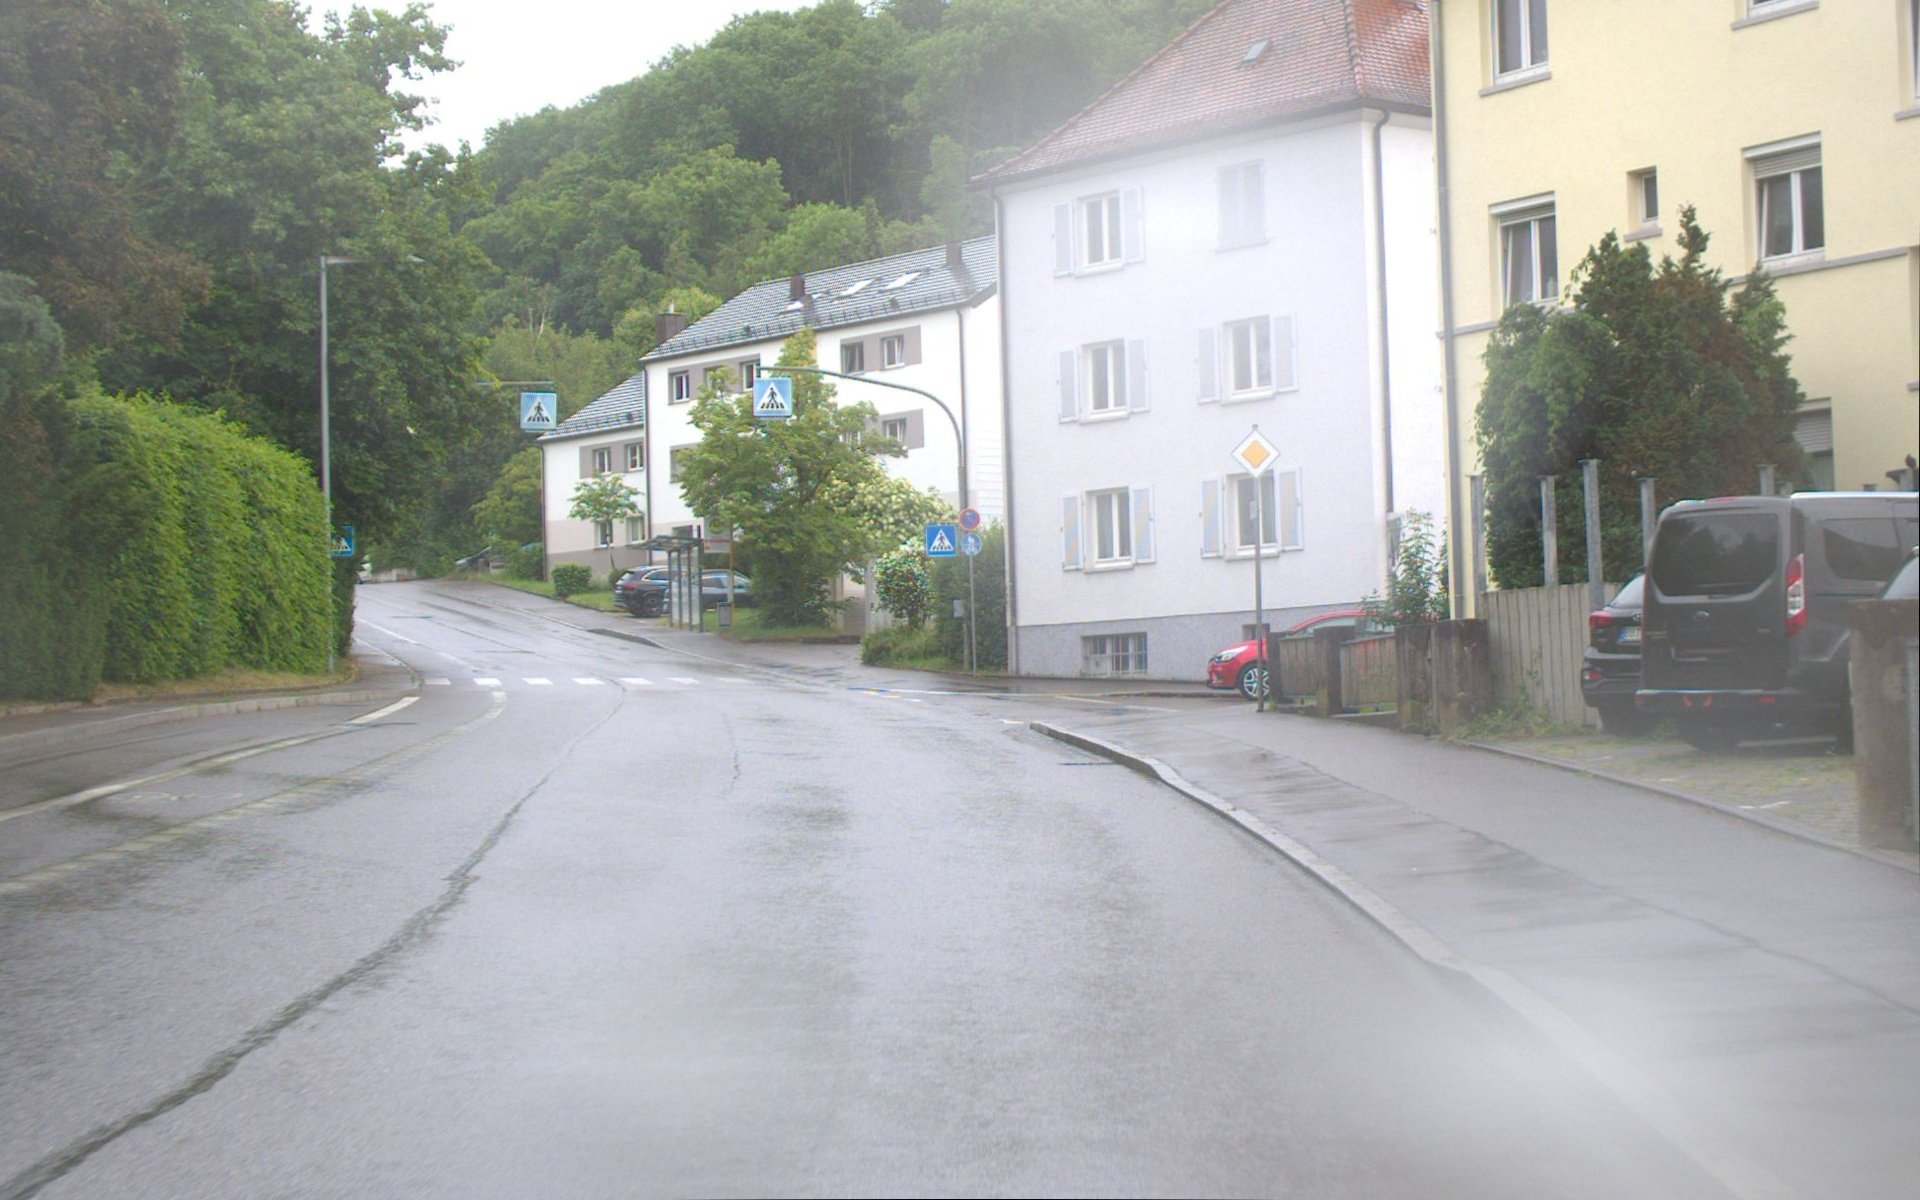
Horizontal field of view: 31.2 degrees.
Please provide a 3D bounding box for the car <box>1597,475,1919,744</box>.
[{"bbox_3d":[6.752,0.032,24.905,3.922,1.776,1.771,-3,-1,-31],"label":"car"}]

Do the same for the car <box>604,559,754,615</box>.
[{"bbox_3d":[-9.174,-0.437,112.149,4.525,1.654,1.857,-2,3,-22],"label":"car"}]

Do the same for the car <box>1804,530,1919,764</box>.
[{"bbox_3d":[7.514,0.231,22.653,3.514,1.470,1.688,-3,-1,-29],"label":"car"}]

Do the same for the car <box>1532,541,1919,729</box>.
[{"bbox_3d":[6.538,0.263,27.688,3.514,1.335,1.688,-3,-1,-33],"label":"car"}]

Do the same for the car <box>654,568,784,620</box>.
[{"bbox_3d":[-7.521,-0.193,107.247,3.742,1.453,1.725,-1,3,-17],"label":"car"}]

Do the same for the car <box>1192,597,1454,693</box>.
[{"bbox_3d":[5.826,0.712,55.168,4.081,1.403,1.724,2,0,7],"label":"car"}]
